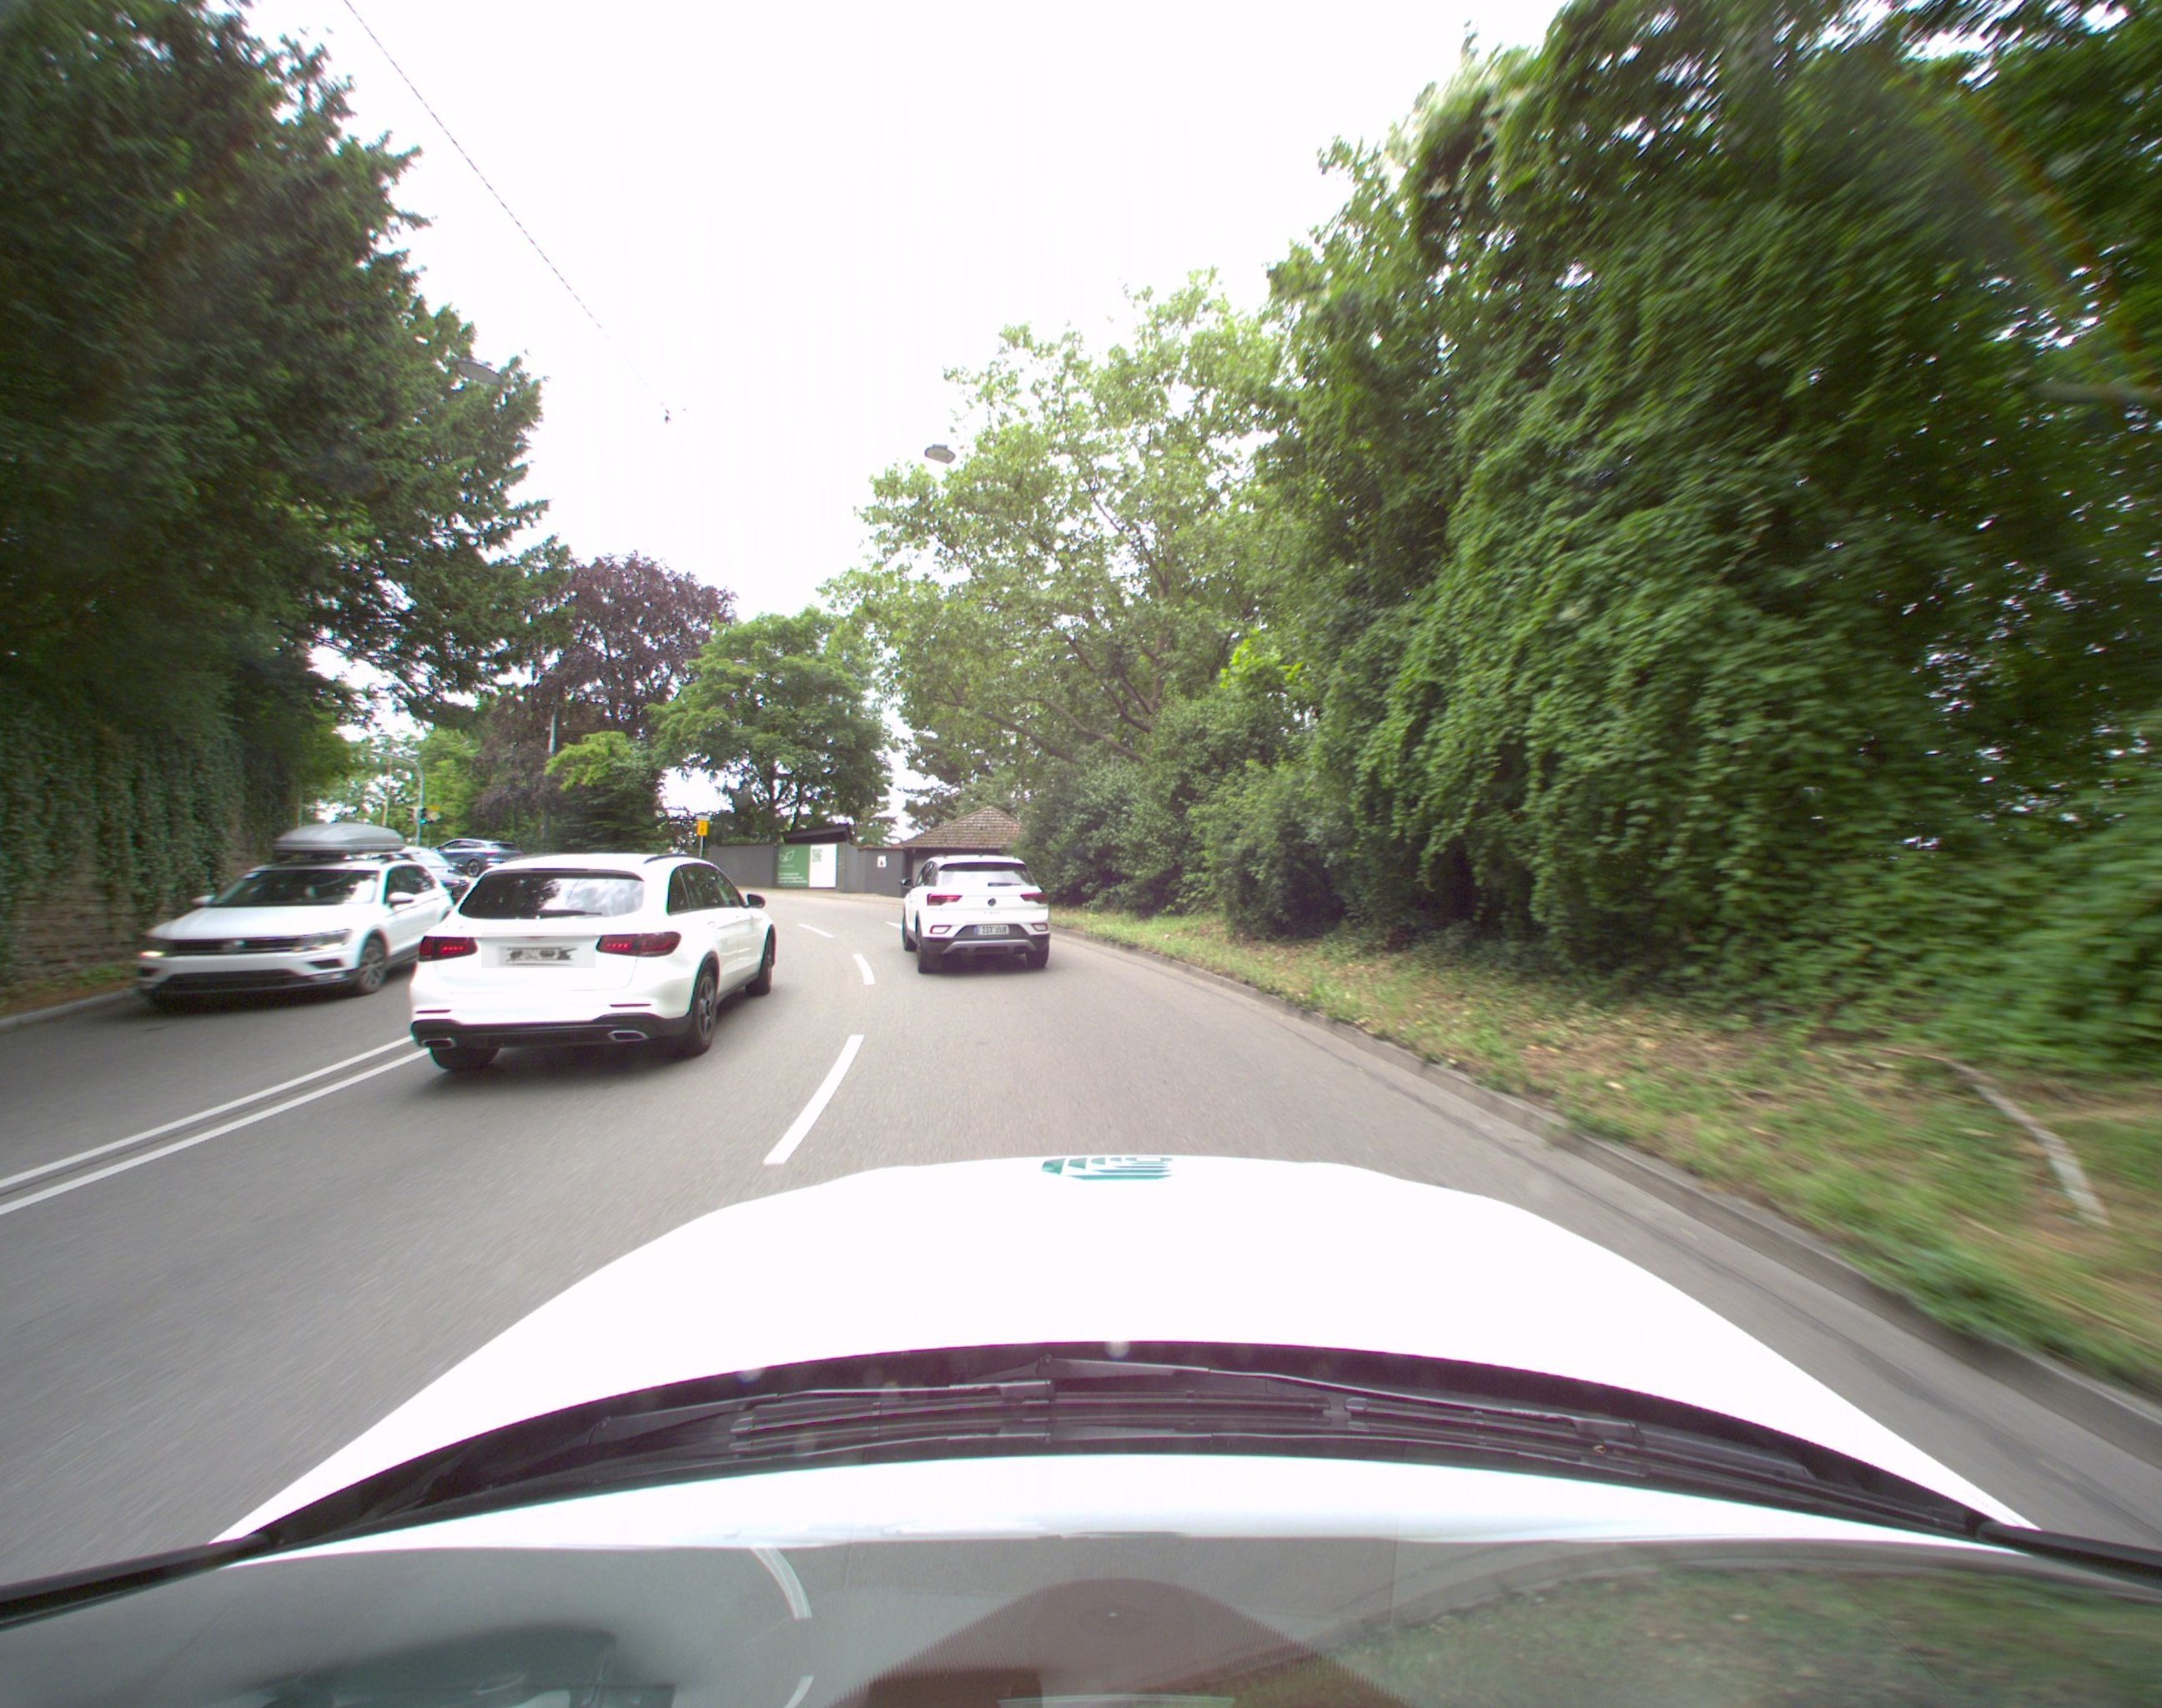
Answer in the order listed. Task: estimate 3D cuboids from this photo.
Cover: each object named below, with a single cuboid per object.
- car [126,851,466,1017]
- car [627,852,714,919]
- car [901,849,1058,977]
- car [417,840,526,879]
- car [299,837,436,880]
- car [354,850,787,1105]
[{"bbox_3d":[-9.822,0.817,10.705,1.778,1.653,4.352,-2,1,-24],"label":"car"},{"bbox_3d":[-11.151,0.744,22.000,1.876,1.534,4.732,-1,1,-29],"label":"car"},{"bbox_3d":[-1.723,0.730,12.453,1.758,1.552,4.314,-1,0,-16],"label":"car"},{"bbox_3d":[-25.356,0.204,33.911,3.813,1.419,1.641,2,0,16],"label":"car"},{"bbox_3d":[-26.984,0.144,30.854,3.962,1.443,1.813,2,1,11],"label":"car"},{"bbox_3d":[-4.203,0.807,7.757,1.859,1.605,4.654,-2,0,-11],"label":"car"}]
